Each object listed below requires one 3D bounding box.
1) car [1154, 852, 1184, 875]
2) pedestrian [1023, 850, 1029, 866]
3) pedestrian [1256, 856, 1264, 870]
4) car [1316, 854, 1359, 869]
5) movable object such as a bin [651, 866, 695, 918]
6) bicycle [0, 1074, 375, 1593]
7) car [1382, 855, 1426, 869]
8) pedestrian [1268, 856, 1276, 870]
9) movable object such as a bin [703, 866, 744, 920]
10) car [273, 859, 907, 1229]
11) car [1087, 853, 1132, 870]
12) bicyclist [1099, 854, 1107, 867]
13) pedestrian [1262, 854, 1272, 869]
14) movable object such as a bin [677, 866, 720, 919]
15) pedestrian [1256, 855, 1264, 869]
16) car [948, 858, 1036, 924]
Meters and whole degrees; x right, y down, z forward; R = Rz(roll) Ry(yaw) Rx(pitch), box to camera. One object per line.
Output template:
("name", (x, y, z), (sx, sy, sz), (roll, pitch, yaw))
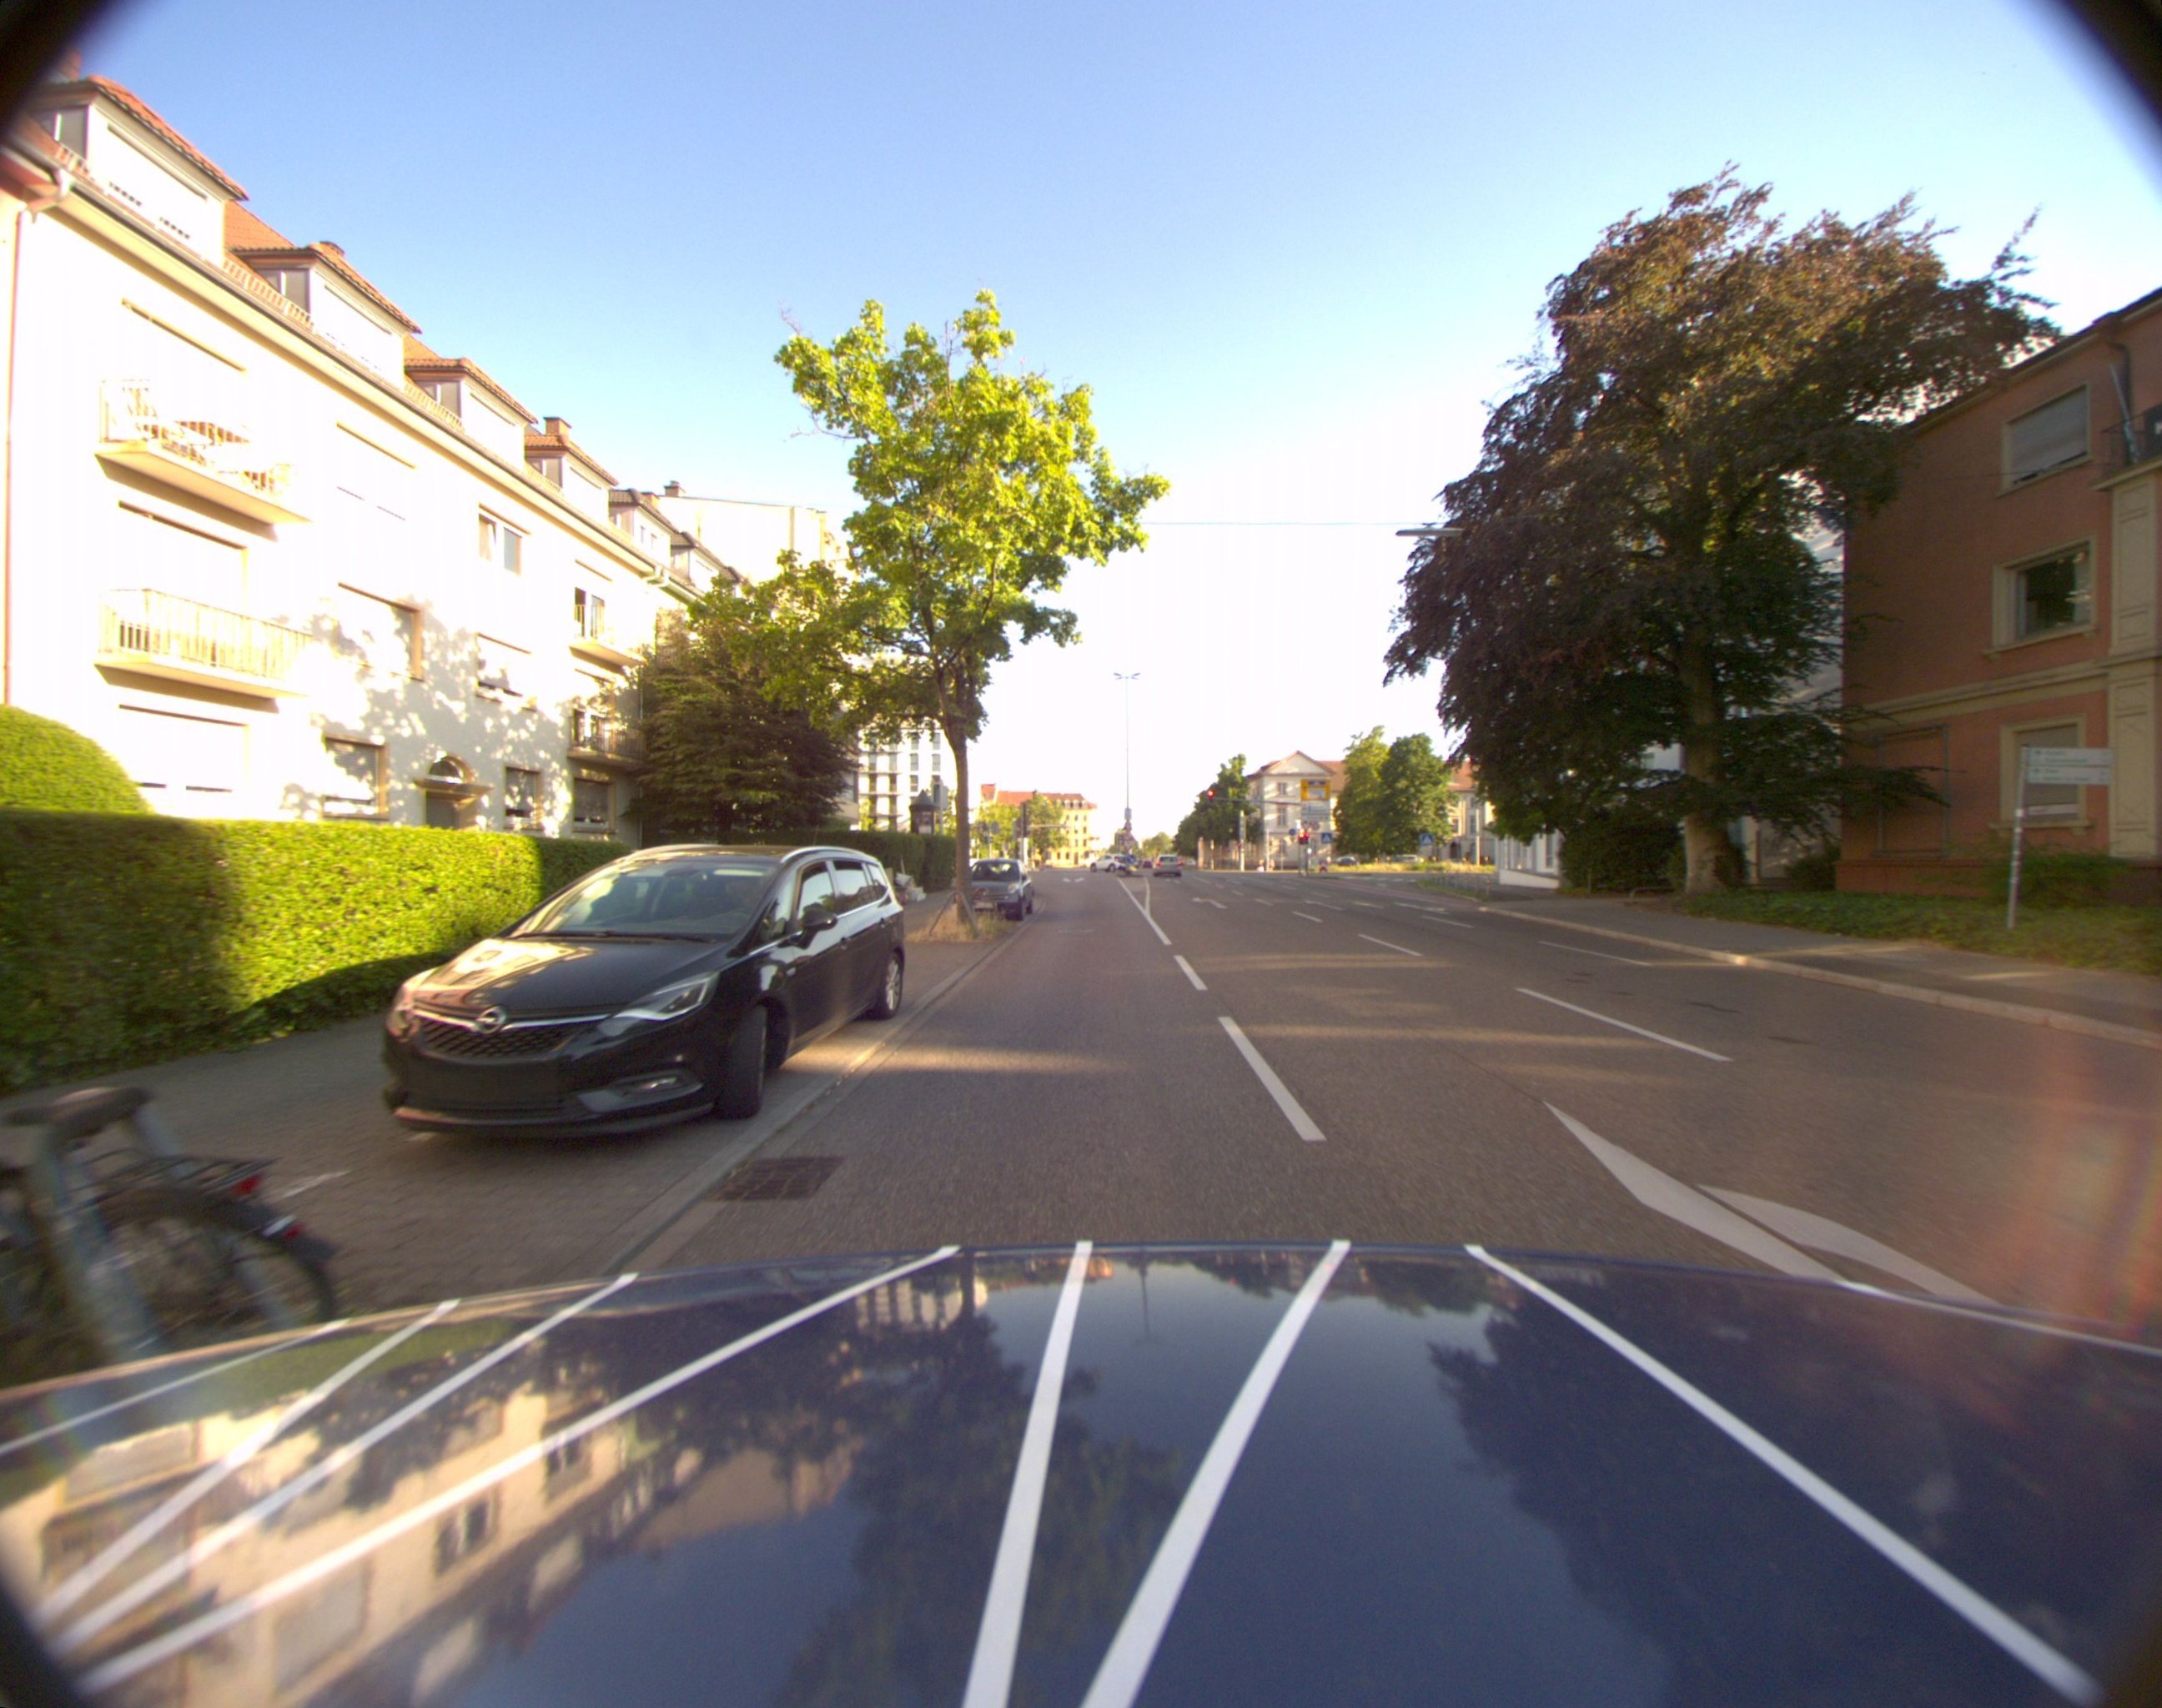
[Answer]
("car", (5.913, 0.642, 51.667), (1.831, 1.505, 4.606), (0, 0, 4))
("pedestrian", (-6.397, 0.499, 88.248), (0.500, 1.866, 0.601), (0, 0, -28))
("pedestrian", (20.880, 1.044, 88.669), (0.621, 1.641, 0.889), (0, 0, -7))
("car", (26.017, 0.759, 77.110), (3.645, 1.437, 2.000), (0, 0, -3))
("movable object such as a bin", (-9.491, 0.877, 17.713), (0.554, 1.187, 0.828), (0, 0, 2))
("bicycle", (-2.773, 1.173, 1.896), (1.482, 1.053, 0.411), (0, 0, -11))
("car", (33.051, 0.851, 77.862), (3.645, 1.437, 2.000), (0, 0, -3))
("pedestrian", (22.307, 1.011, 88.653), (0.678, 1.641, 0.882), (0, 0, -7))
("movable object such as a bin", (-8.291, 0.887, 17.645), (0.554, 1.213, 0.828), (0, 0, 2))
("car", (-2.697, 0.863, 5.544), (1.736, 1.641, 4.292), (0, 0, 2))
("car", (2.419, 0.643, 64.527), (1.837, 1.452, 3.892), (0, 0, -35))
("bicyclist", (2.669, 0.787, 91.894), (0.838, 1.594, 1.023), (0, 0, 0))
("pedestrian", (22.874, 0.967, 93.329), (0.821, 1.838, 1.169), (0, 0, -7))
("movable object such as a bin", (-8.896, 0.879, 17.677), (0.554, 1.195, 0.828), (0, 0, 2))
("pedestrian", (21.949, 0.984, 93.141), (0.678, 1.698, 1.084), (0, 0, -7))
("car", (-2.177, 0.885, 19.531), (1.736, 1.542, 3.646), (0, 0, 2))
